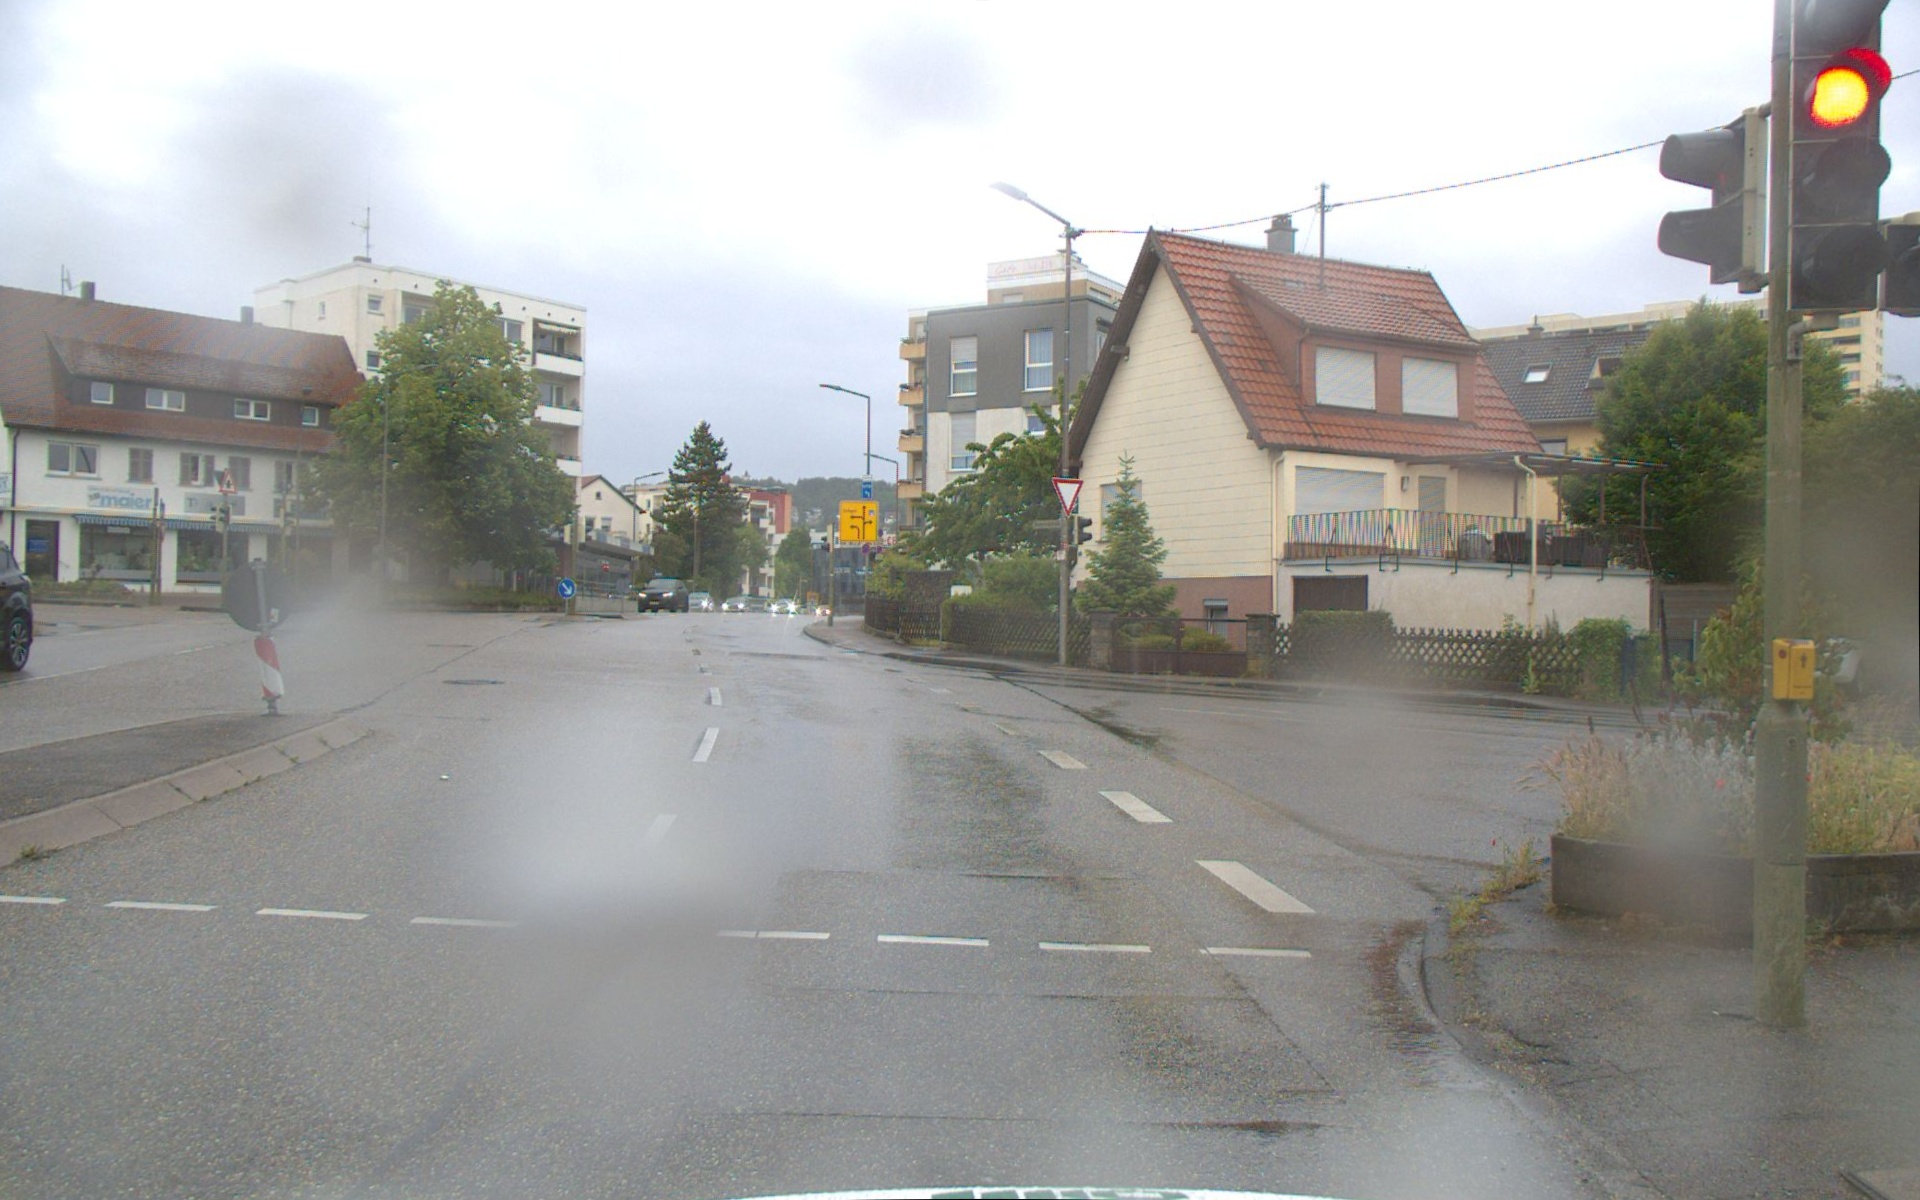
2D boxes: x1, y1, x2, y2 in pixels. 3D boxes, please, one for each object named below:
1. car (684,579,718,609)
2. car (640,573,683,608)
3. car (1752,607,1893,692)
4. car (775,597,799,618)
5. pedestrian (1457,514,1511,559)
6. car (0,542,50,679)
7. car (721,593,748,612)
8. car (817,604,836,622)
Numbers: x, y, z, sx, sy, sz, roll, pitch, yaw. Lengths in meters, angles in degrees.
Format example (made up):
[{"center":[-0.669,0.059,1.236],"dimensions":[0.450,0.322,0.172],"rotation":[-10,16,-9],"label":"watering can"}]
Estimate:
[{"center":[-17.354,-0.407,111.053],"dimensions":[1.955,1.937,3.995],"rotation":[1,0,-5],"label":"car"},{"center":[-16.169,-0.494,89.854],"dimensions":[1.956,1.768,5.173],"rotation":[1,0,-7],"label":"car"},{"center":[15.622,0.856,29.880],"dimensions":[1.780,1.386,3.986],"rotation":[1,0,35],"label":"car"},{"center":[-14.737,0.620,141.070],"dimensions":[1.955,1.708,3.995],"rotation":[1,0,-5],"label":"car"},{"center":[11.152,-1.342,35.181],"dimensions":[0.902,0.898,0.632],"rotation":[1,-2,-20],"label":"pedestrian"},{"center":[-12.248,0.109,18.840],"dimensions":[1.843,1.625,4.178],"rotation":[1,0,-7],"label":"car"},{"center":[-18.129,0.222,133.015],"dimensions":[1.955,1.489,3.995],"rotation":[1,0,-5],"label":"car"},{"center":[-14.646,1.421,181.431],"dimensions":[1.955,1.843,3.995],"rotation":[1,0,-5],"label":"car"}]
